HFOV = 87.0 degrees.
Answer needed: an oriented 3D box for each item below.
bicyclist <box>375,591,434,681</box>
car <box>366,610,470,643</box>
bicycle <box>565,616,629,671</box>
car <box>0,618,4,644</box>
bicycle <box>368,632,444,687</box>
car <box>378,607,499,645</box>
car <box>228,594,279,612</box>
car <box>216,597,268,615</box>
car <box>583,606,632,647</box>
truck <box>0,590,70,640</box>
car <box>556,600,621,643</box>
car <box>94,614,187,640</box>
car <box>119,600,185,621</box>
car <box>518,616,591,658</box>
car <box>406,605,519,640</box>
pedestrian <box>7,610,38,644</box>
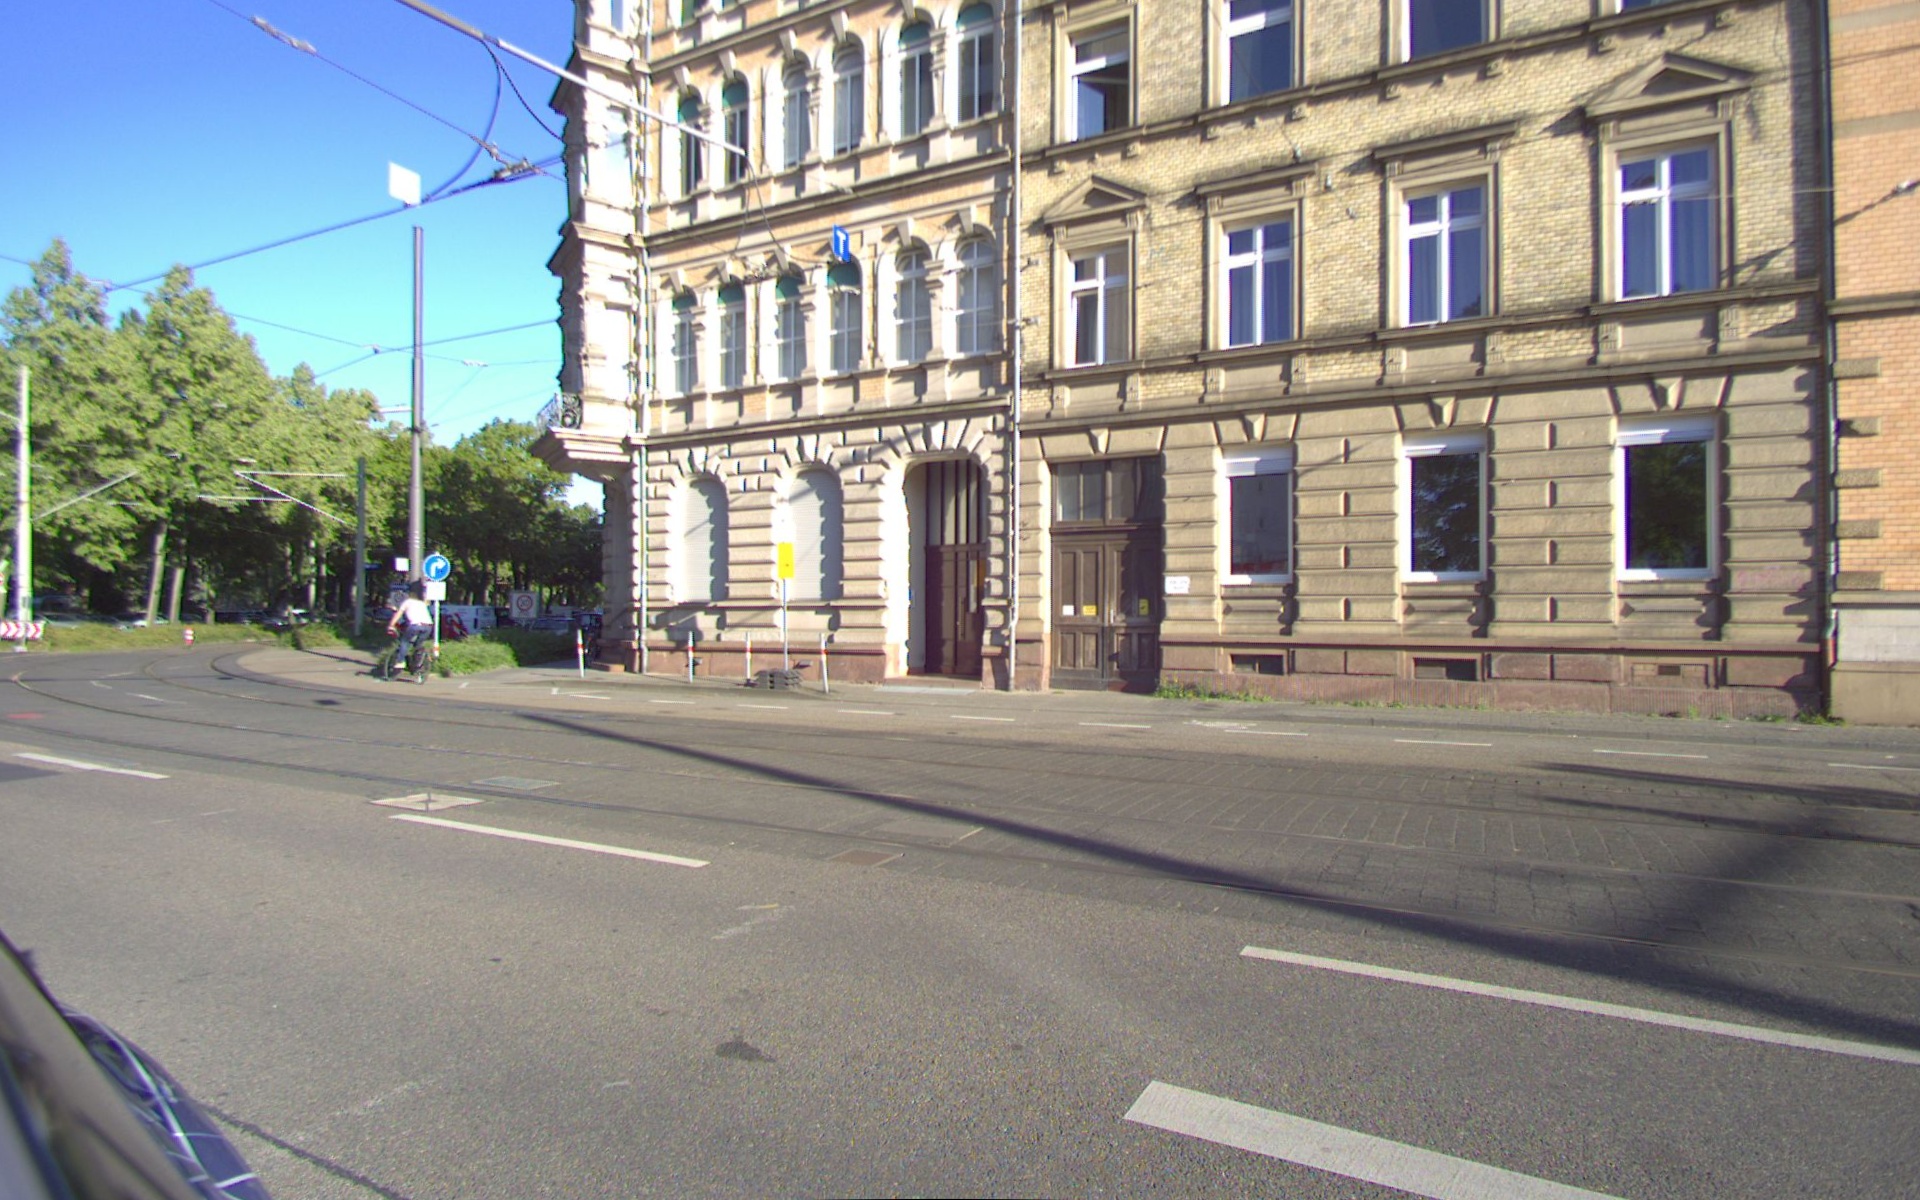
[{"bbox_3d":[-11.712,0.754,21.334,1.212,1.854,0.720,-2,-2,41],"label":"bicyclist"},{"bbox_3d":[-25.427,1.240,47.573,3.948,1.519,1.866,0,-1,4],"label":"car"},{"bbox_3d":[-8.904,1.049,24.942,0.636,1.275,2.688,0,-1,0],"label":"bicycle"},{"bbox_3d":[-53.391,1.649,53.728,1.919,1.409,4.008,0,-1,-10],"label":"car"},{"bbox_3d":[-11.652,1.226,21.266,2.115,1.092,0.718,-2,-2,41],"label":"bicycle"},{"bbox_3d":[-25.683,1.273,49.936,4.993,1.801,1.998,0,-1,4],"label":"car"},{"bbox_3d":[-73.010,0.330,104.602,3.946,1.763,1.884,0,-1,2],"label":"car"},{"bbox_3d":[-72.330,0.614,101.934,3.946,1.763,1.884,0,-1,2],"label":"car"},{"bbox_3d":[-17.984,1.338,51.791,1.966,2.029,4.648,1,-1,-14],"label":"car"},{"bbox_3d":[-54.571,0.870,59.161,1.966,2.804,4.899,1,-1,-17],"label":"truck"},{"bbox_3d":[-15.078,0.880,41.256,1.710,1.674,4.008,0,-1,-9],"label":"car"},{"bbox_3d":[-44.509,1.444,55.035,3.635,1.364,1.741,0,-1,-1],"label":"car"},{"bbox_3d":[-69.428,0.909,86.967,4.393,1.763,1.994,0,-1,9],"label":"car"},{"bbox_3d":[-14.613,1.315,36.607,1.710,1.425,3.440,0,-1,-9],"label":"car"},{"bbox_3d":[-26.096,1.179,53.190,4.993,1.822,1.998,0,-1,4],"label":"car"},{"bbox_3d":[-50.864,1.459,54.903,0.820,1.781,0.887,0,-1,5],"label":"pedestrian"}]
